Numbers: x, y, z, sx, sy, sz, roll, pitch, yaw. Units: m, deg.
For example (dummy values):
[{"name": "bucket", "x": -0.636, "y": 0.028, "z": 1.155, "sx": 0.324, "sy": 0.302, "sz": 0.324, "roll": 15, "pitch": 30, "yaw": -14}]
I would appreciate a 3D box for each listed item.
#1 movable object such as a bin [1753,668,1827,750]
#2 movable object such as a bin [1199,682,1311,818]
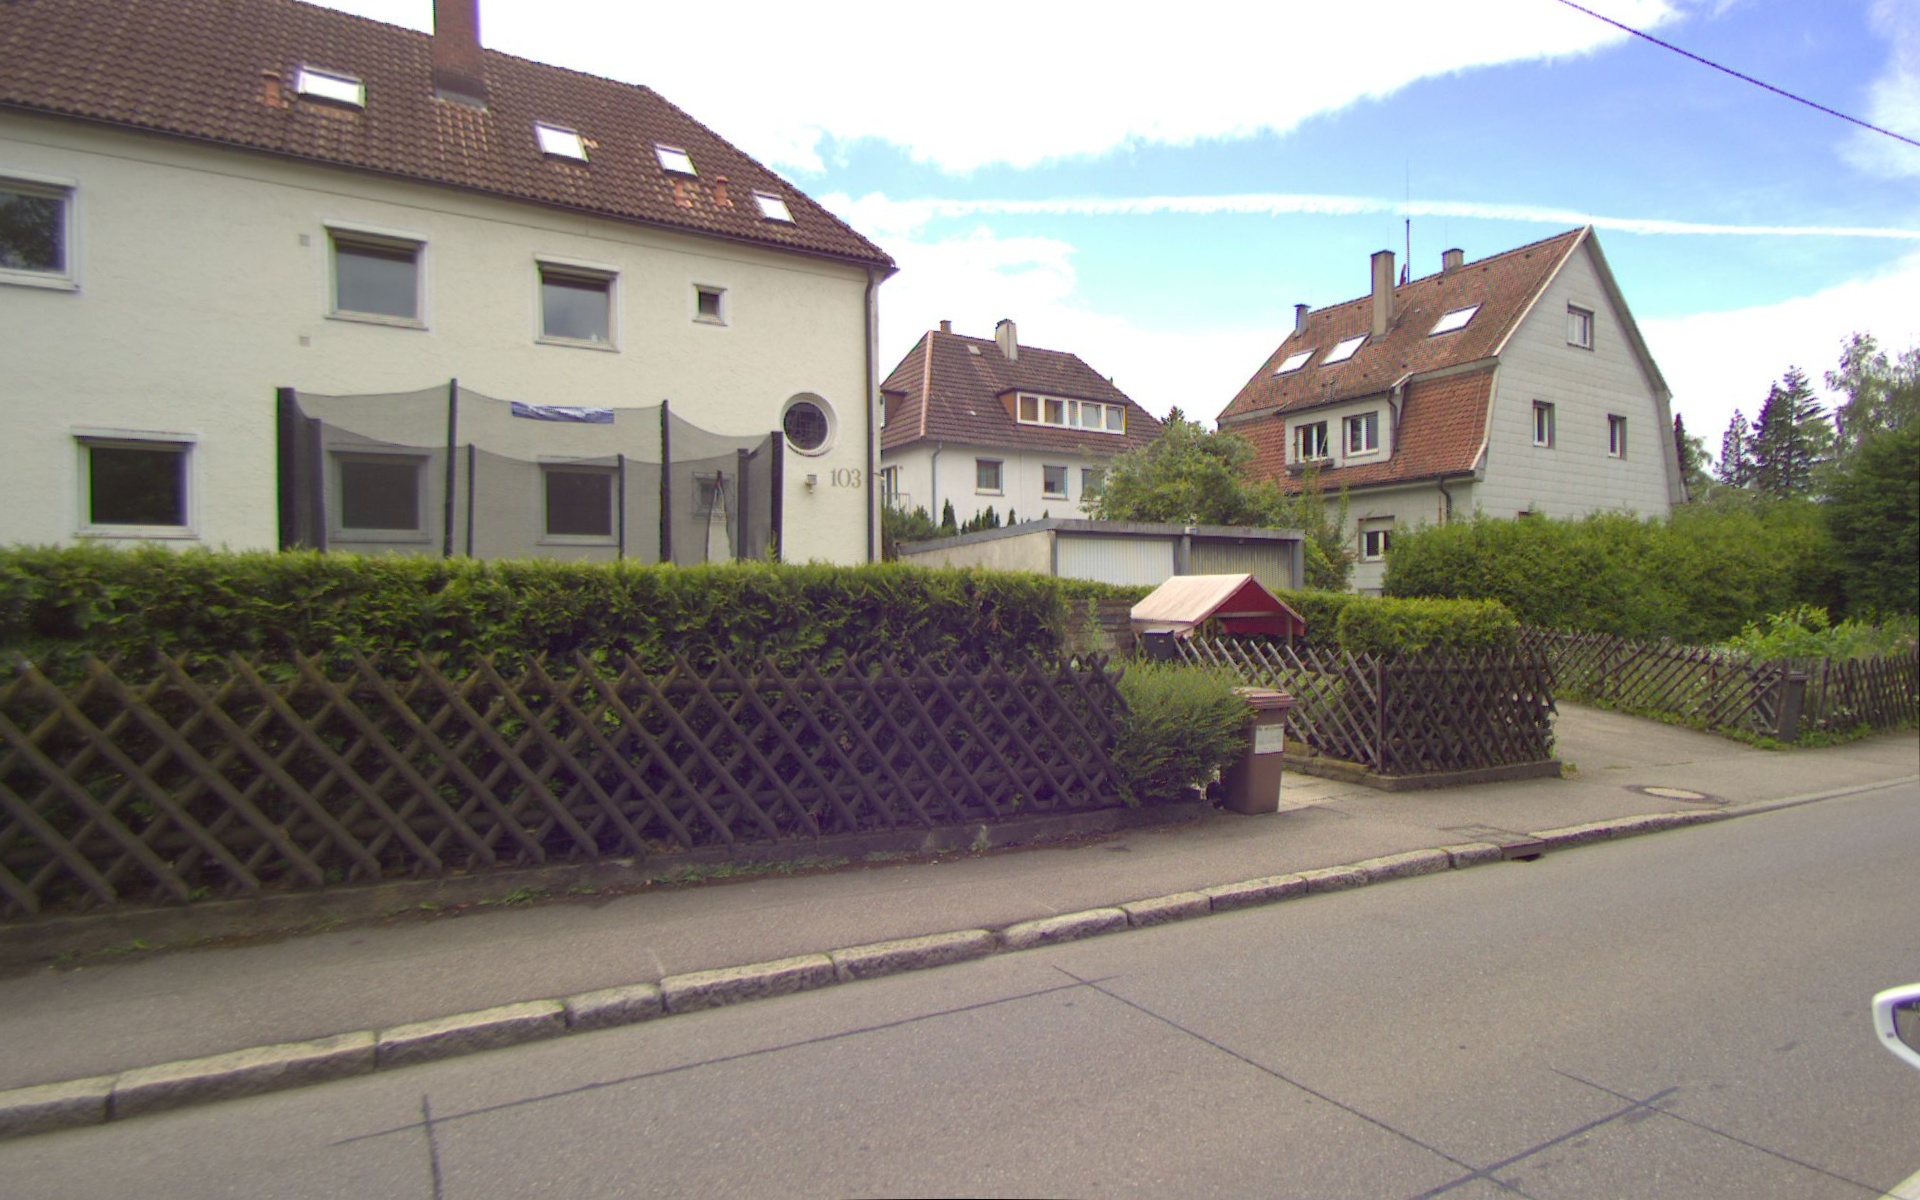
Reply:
[{"name": "movable object such as a bin", "x": 10.264, "y": 1.329, "z": 12.427, "sx": 0.531, "sy": 0.950, "sz": 0.548, "roll": 1, "pitch": -1, "yaw": -28}, {"name": "movable object such as a bin", "x": 2.251, "y": 1.125, "z": 7.714, "sx": 0.551, "sy": 0.925, "sz": 0.632, "roll": 1, "pitch": 2, "yaw": -17}]
